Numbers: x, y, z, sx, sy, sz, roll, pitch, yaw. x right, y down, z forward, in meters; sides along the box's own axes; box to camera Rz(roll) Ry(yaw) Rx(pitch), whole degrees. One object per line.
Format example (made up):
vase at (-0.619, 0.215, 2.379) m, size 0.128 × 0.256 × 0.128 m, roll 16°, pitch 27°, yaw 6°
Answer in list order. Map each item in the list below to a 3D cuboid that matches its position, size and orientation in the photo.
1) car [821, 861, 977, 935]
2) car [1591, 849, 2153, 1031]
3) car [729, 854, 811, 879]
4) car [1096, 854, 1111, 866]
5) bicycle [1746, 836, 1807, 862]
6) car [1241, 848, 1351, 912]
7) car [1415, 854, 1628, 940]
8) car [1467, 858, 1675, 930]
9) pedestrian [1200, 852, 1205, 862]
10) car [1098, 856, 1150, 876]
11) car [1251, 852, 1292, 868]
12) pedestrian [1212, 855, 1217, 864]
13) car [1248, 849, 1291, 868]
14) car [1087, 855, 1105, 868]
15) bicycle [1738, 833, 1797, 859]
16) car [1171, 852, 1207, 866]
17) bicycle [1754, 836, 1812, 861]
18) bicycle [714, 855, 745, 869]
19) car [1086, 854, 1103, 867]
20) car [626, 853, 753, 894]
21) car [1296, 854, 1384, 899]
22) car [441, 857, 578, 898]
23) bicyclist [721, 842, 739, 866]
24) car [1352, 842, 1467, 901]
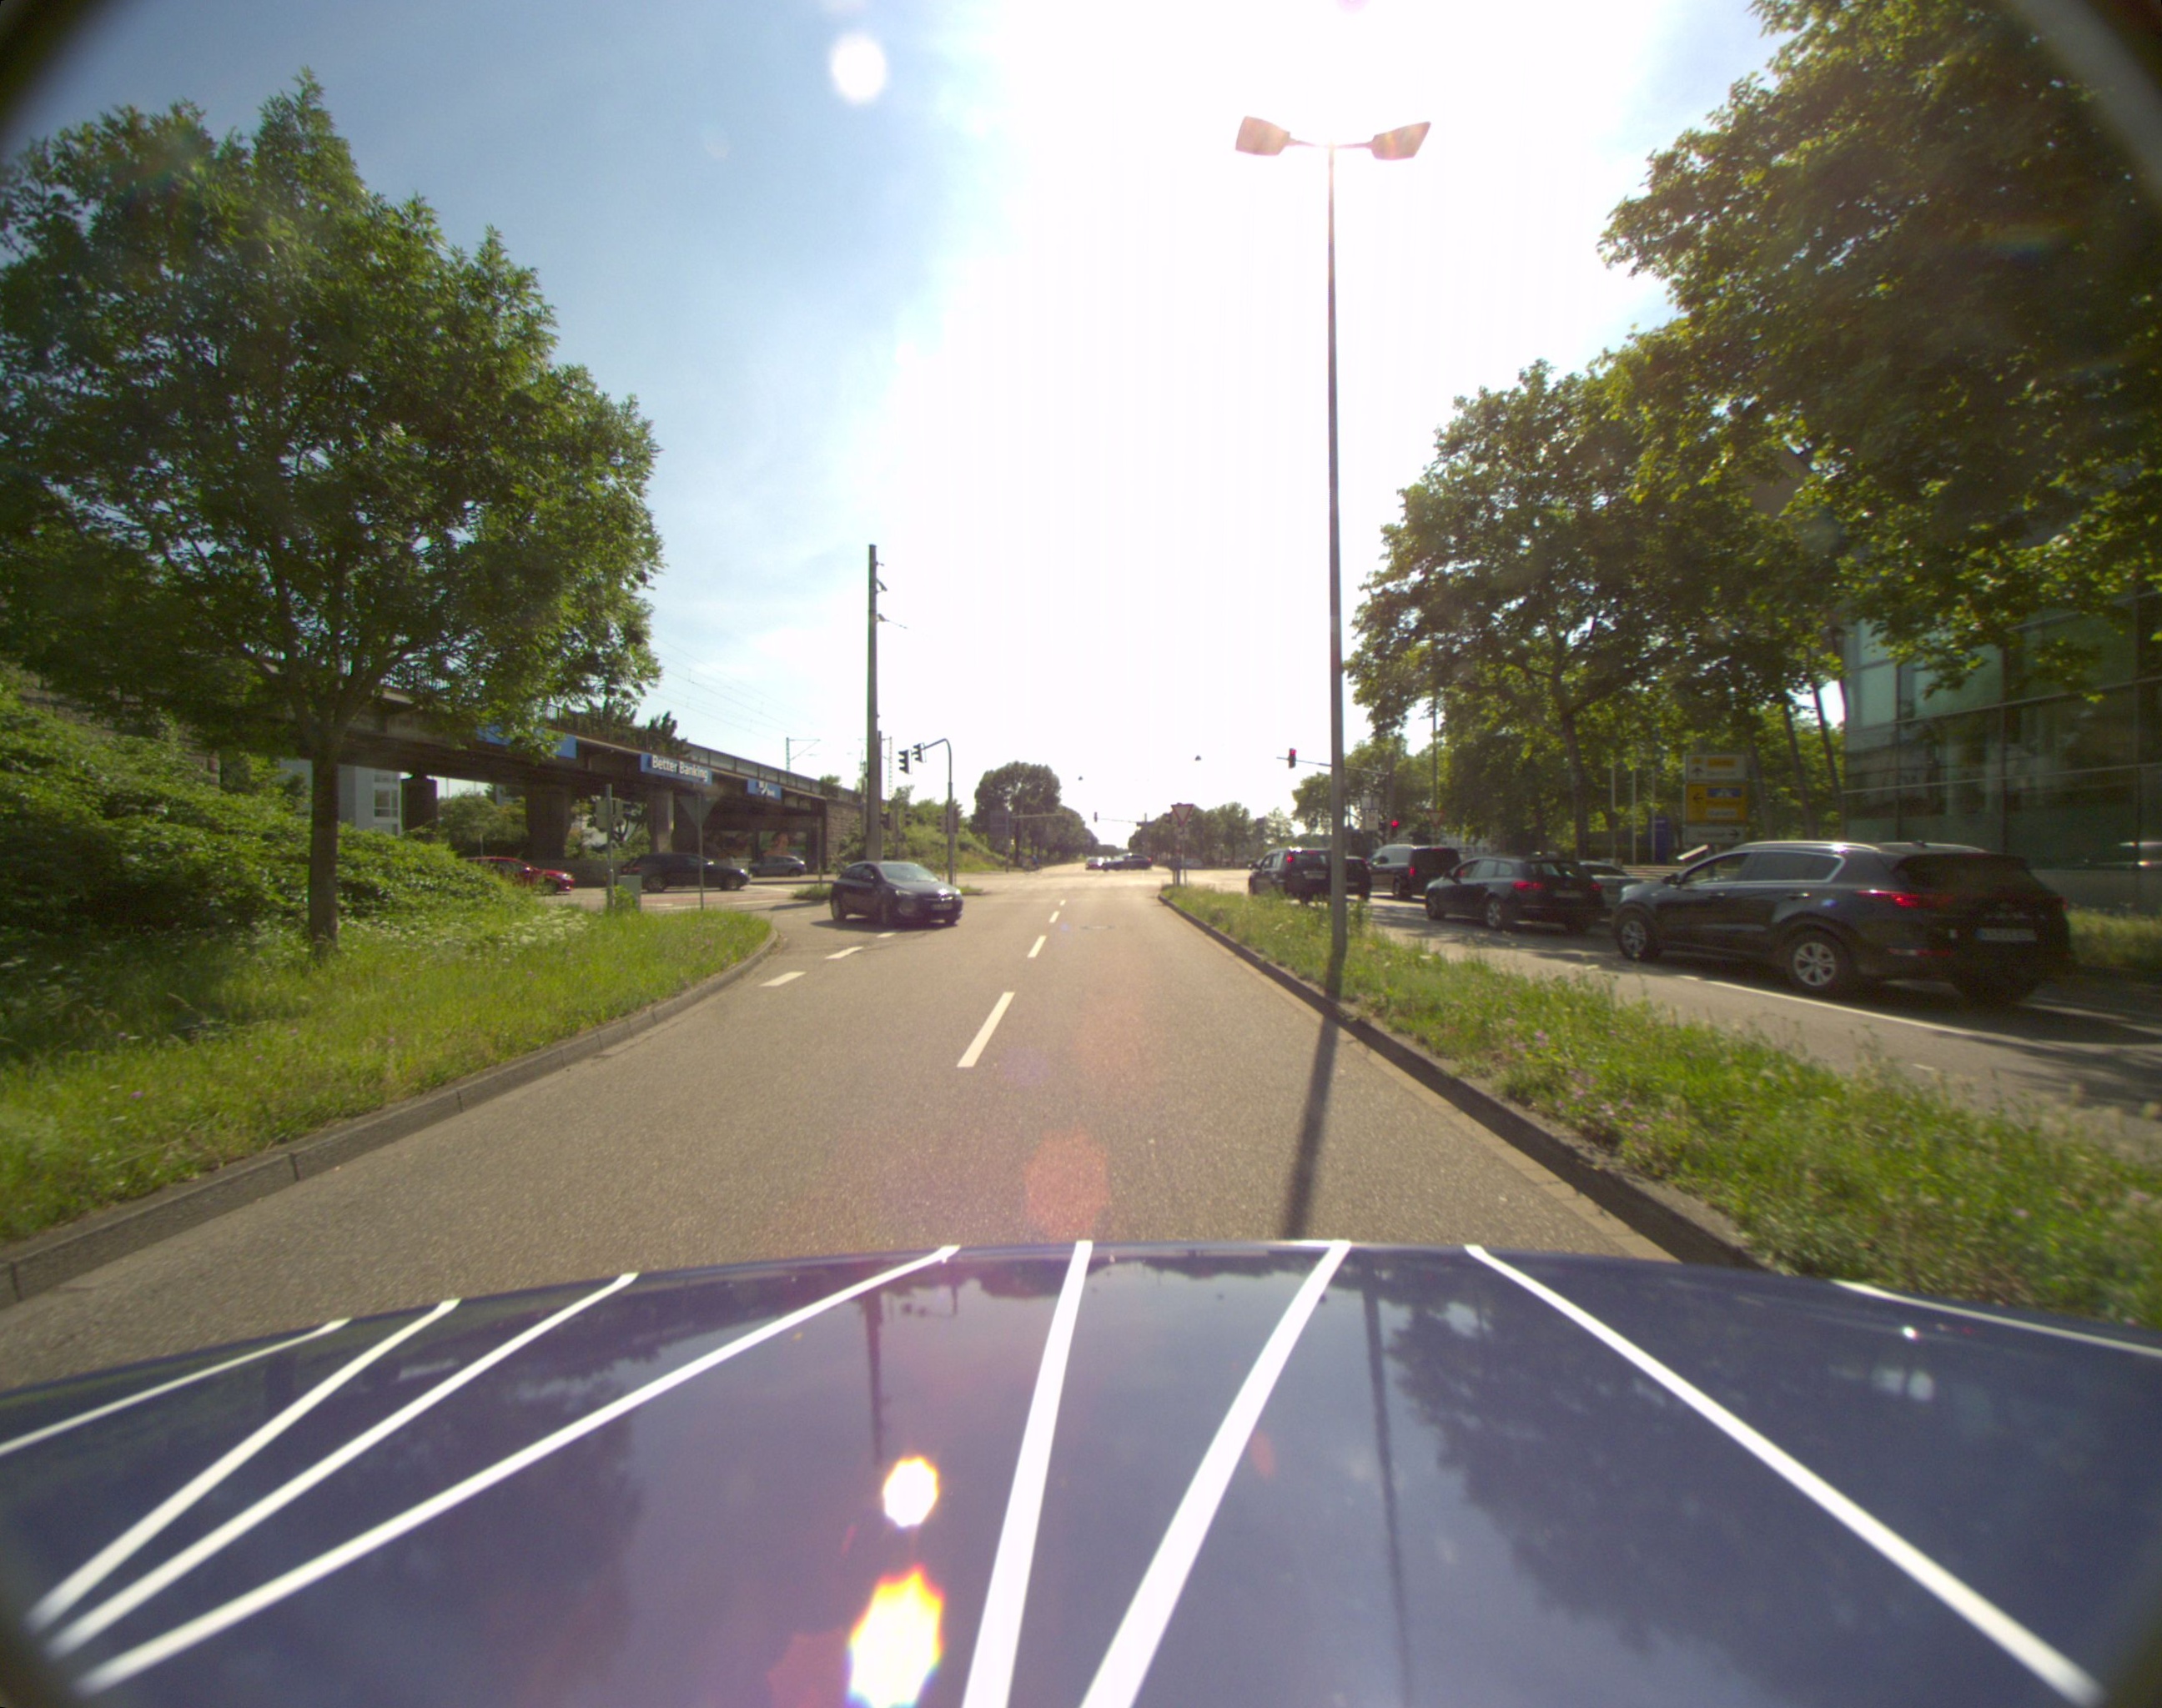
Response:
car at (-4.414, 0.942, 17.998) m, size 1.832 × 1.498 × 4.204 m, roll -1°, pitch 0°, yaw -42°
car at (8.535, 0.777, 9.002) m, size 1.998 × 1.601 × 4.496 m, roll 0°, pitch 0°, yaw 1°
car at (-19.746, 0.773, 48.316) m, size 4.569 × 1.540 × 1.826 m, roll 0°, pitch 0°, yaw -33°
car at (3.149, 0.885, 107.256) m, size 1.714 × 1.498 × 4.003 m, roll -1°, pitch -2°, yaw 7°
bicycle at (30.692, -0.205, 33.561) m, size 0.741 × 1.104 × 1.881 m, roll -1°, pitch 0°, yaw -38°
car at (5.954, 0.667, 21.587) m, size 1.812 × 1.606 × 4.490 m, roll 0°, pitch 0°, yaw 0°
car at (8.883, 0.766, 15.869) m, size 1.840 × 1.454 × 4.517 m, roll 2°, pitch 0°, yaw 1°
car at (11.651, 0.865, 18.602) m, size 1.895 × 1.441 × 5.004 m, roll 1°, pitch 0°, yaw 1°
pedestrian at (19.290, 0.485, 120.342) m, size 0.630 × 1.699 × 0.768 m, roll 0°, pitch 0°, yaw -1°
car at (3.611, 1.018, 63.555) m, size 4.006 × 1.603 × 1.815 m, roll 0°, pitch -2°, yaw -29°
car at (19.660, 0.579, 78.403) m, size 4.007 × 1.619 × 1.768 m, roll 0°, pitch 1°, yaw -32°
pedestrian at (20.926, 0.846, 119.129) m, size 0.578 × 1.515 × 0.880 m, roll 0°, pitch 0°, yaw -1°
car at (17.718, 0.422, 71.299) m, size 1.994 × 1.699 × 4.440 m, roll 0°, pitch 0°, yaw 44°
car at (1.748, 0.860, 88.958) m, size 1.714 × 1.384 × 4.003 m, roll -1°, pitch -2°, yaw 7°
bicycle at (29.970, -0.324, 33.178) m, size 0.741 × 1.104 × 1.795 m, roll -1°, pitch 0°, yaw -38°
car at (14.341, 0.696, 101.375) m, size 2.003 × 1.713 × 5.154 m, roll 0°, pitch -2°, yaw -30°
bicycle at (31.485, -0.245, 34.098) m, size 0.741 × 1.104 × 1.795 m, roll -1°, pitch 0°, yaw -38°
bicycle at (-24.169, 0.553, 52.216) m, size 1.929 × 0.887 × 0.816 m, roll 0°, pitch -2°, yaw -27°
car at (1.730, 0.869, 94.337) m, size 1.714 × 1.498 × 4.003 m, roll -1°, pitch -2°, yaw 7°
car at (-16.434, 0.763, 31.966) m, size 4.454 × 1.586 × 1.995 m, roll 0°, pitch 0°, yaw -37°
car at (8.961, 0.740, 26.667) m, size 1.766 × 1.467 × 3.958 m, roll 0°, pitch 0°, yaw 0°
car at (-21.352, 0.834, 28.585) m, size 4.007 × 1.412 × 1.703 m, roll 0°, pitch 0°, yaw -35°
bicyclist at (-24.153, 0.032, 52.238) m, size 1.069 × 1.624 × 0.805 m, roll 0°, pitch -2°, yaw -27°
car at (11.646, 0.570, 27.402) m, size 1.943 × 1.908 × 5.228 m, roll 0°, pitch 0°, yaw 0°
